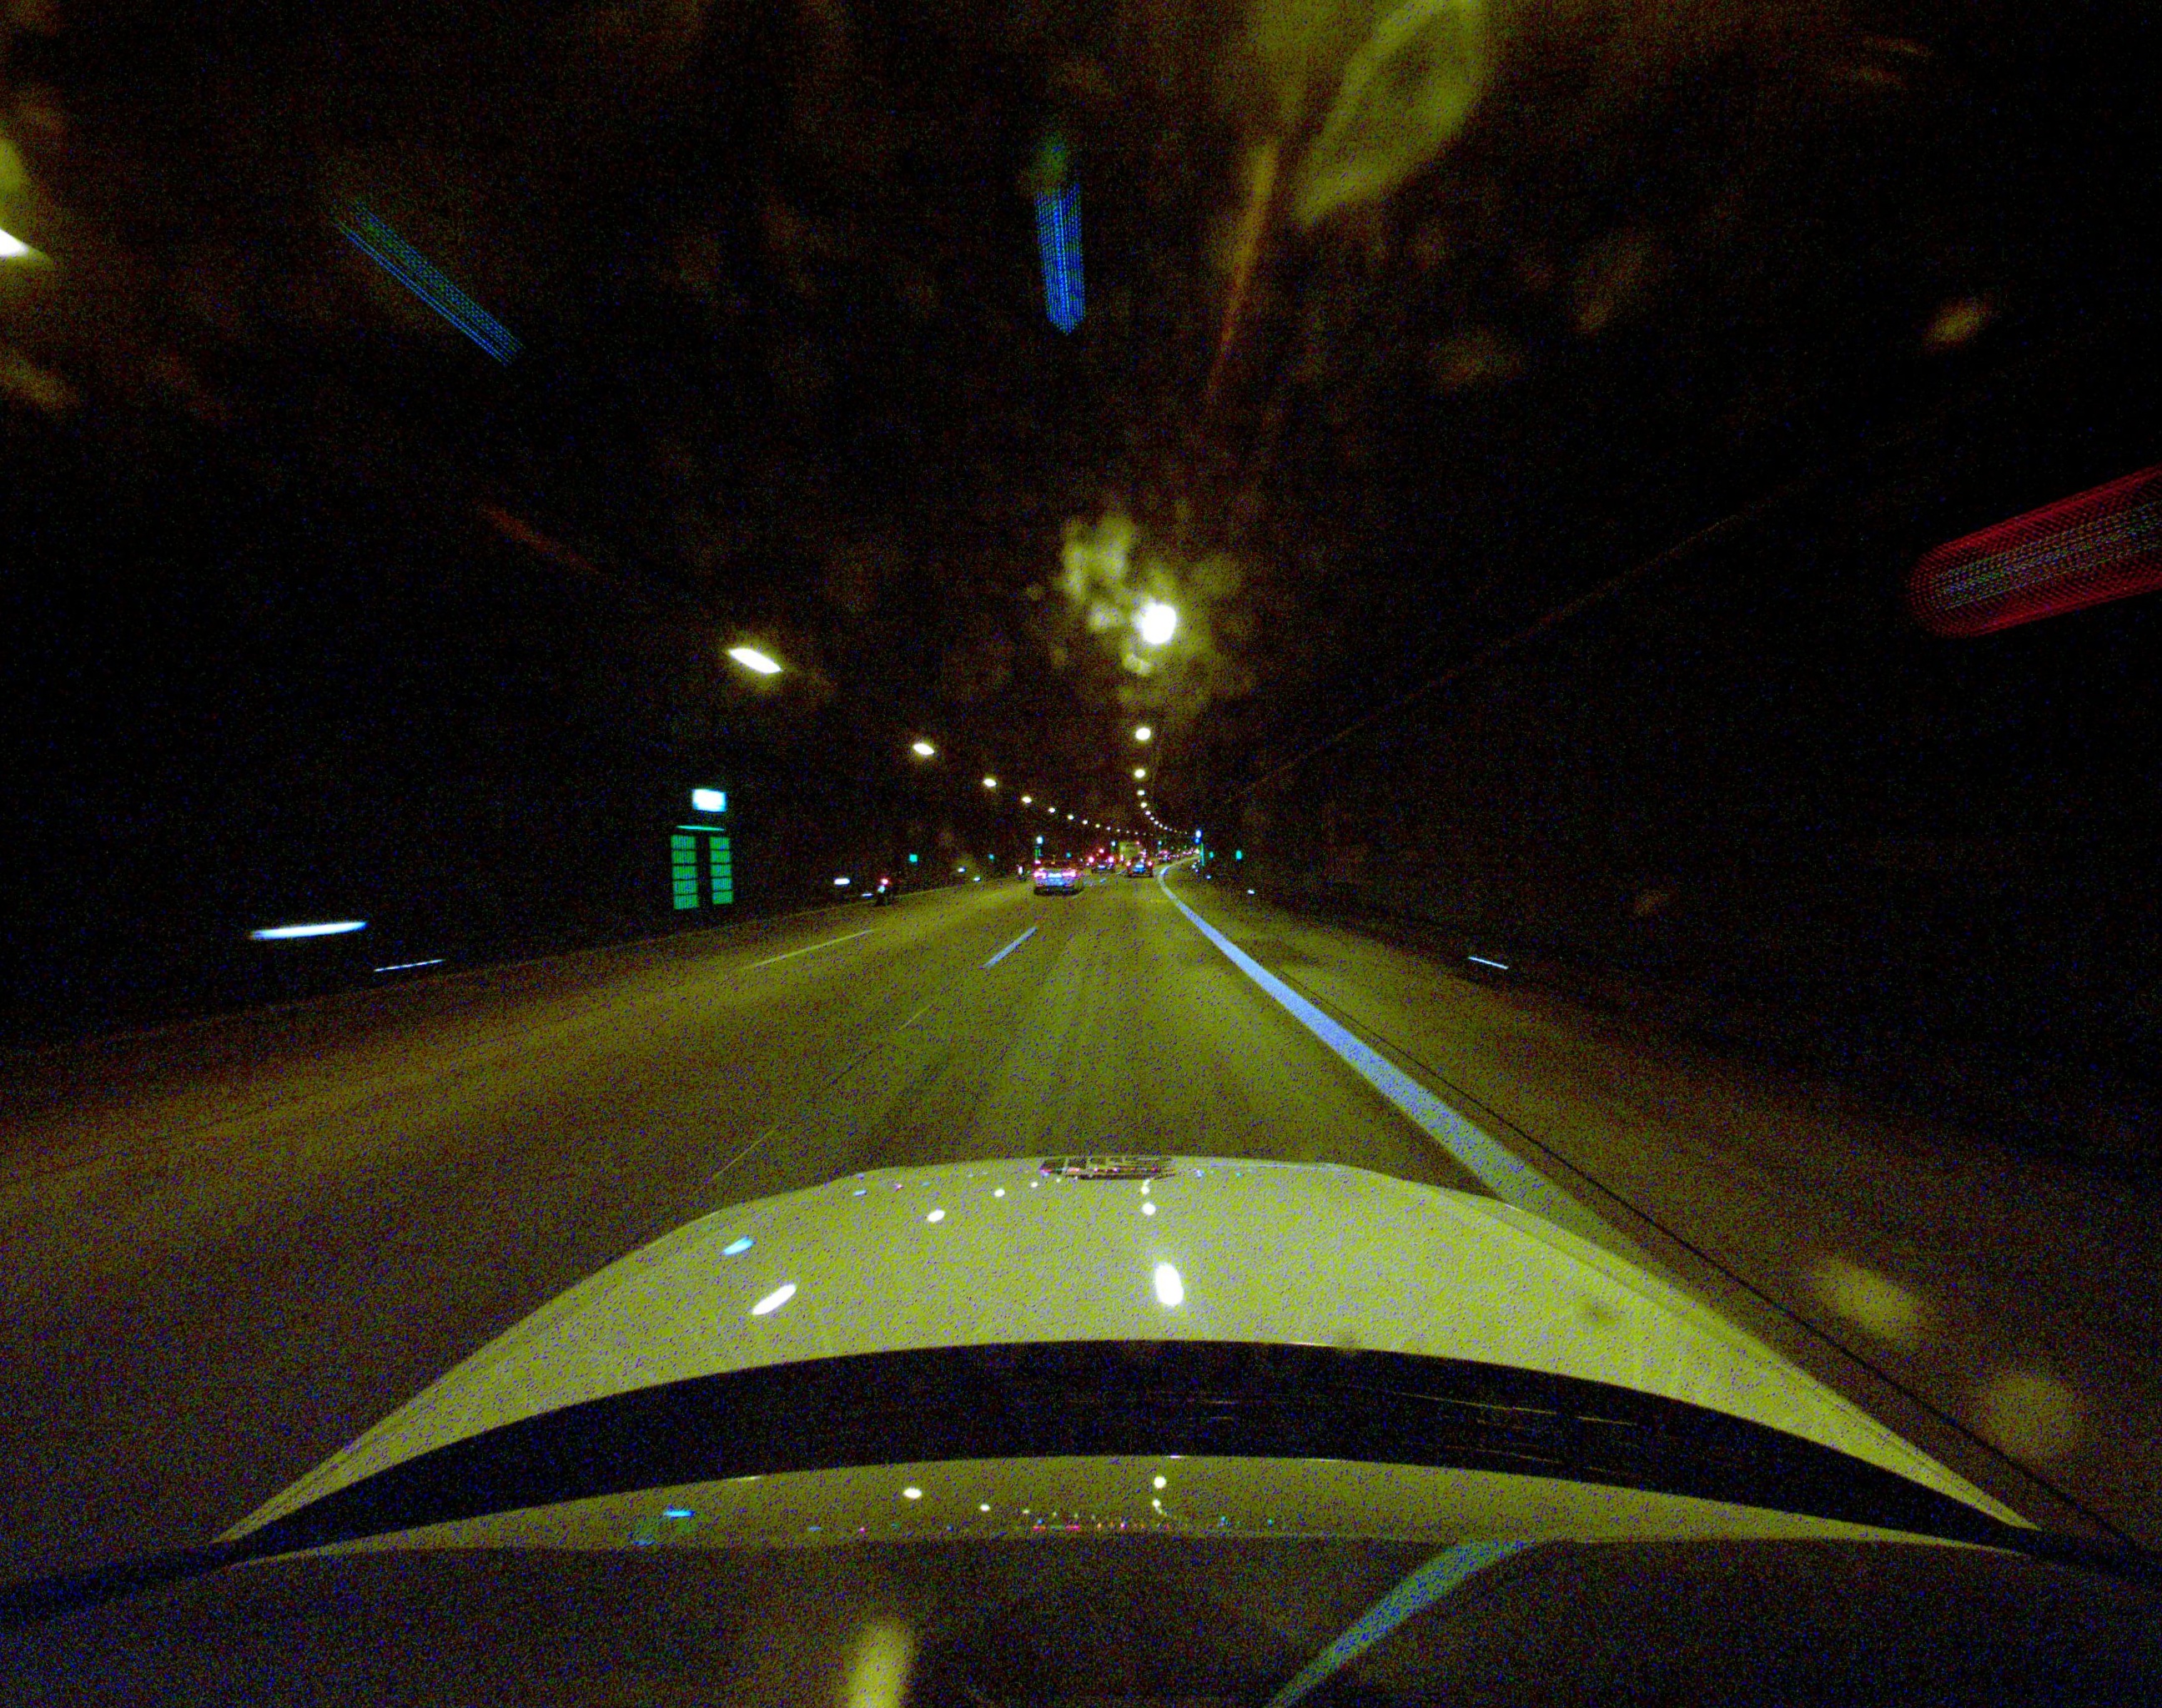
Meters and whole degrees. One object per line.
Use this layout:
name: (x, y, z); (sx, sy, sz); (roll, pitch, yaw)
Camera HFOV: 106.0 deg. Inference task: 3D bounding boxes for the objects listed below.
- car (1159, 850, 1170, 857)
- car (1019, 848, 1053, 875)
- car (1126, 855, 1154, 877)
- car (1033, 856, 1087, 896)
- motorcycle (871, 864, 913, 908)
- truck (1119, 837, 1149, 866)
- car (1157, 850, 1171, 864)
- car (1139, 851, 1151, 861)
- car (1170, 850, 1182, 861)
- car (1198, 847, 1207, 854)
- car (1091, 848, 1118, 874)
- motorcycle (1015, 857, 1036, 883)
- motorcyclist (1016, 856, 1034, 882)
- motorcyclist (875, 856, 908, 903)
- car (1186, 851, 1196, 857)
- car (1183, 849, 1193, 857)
car: (18.834, -0.104, 182.913); (1.916, 1.642, 4.016); (-1, -1, 15)
car: (-3.424, 0.573, 62.908); (1.984, 2.013, 4.006); (-1, 0, 5)
car: (4.138, 0.877, 56.422); (1.733, 1.464, 3.878); (0, -2, 7)
car: (-0.800, 0.849, 33.812); (1.694, 1.419, 5.067); (-1, 1, 4)
motorcycle: (-6.038, 0.999, 26.122); (0.680, 1.297, 2.400); (-1, 0, 2)
truck: (7.066, -0.269, 107.535); (3.020, 3.673, 7.413); (-1, 0, 10)
car: (11.557, 0.390, 113.114); (1.847, 1.854, 4.008); (-1, 0, 7)
car: (11.763, 0.364, 148.974); (1.919, 1.642, 4.011); (-1, 0, 9)
car: (16.481, 0.270, 141.211); (1.939, 1.772, 4.009); (-1, -1, 8)
car: (29.145, -0.766, 195.669); (1.980, 1.632, 4.013); (-1, -1, 12)
car: (2.011, 0.571, 69.455); (1.899, 1.944, 3.880); (-1, 2, 7)
motorcycle: (-3.169, 0.895, 46.711); (0.922, 1.434, 2.965); (0, 0, 2)
motorcyclist: (-3.174, 0.860, 46.663); (0.803, 1.448, 1.866); (-1, 0, 2)
motorcyclist: (-6.046, 0.793, 26.013); (0.774, 1.452, 1.069); (-1, -1, 2)
car: (28.043, -0.036, 207.529); (1.917, 1.642, 4.014); (-1, -1, 13)
car: (23.145, -0.261, 176.182); (1.918, 1.642, 4.012); (-1, -1, 11)
